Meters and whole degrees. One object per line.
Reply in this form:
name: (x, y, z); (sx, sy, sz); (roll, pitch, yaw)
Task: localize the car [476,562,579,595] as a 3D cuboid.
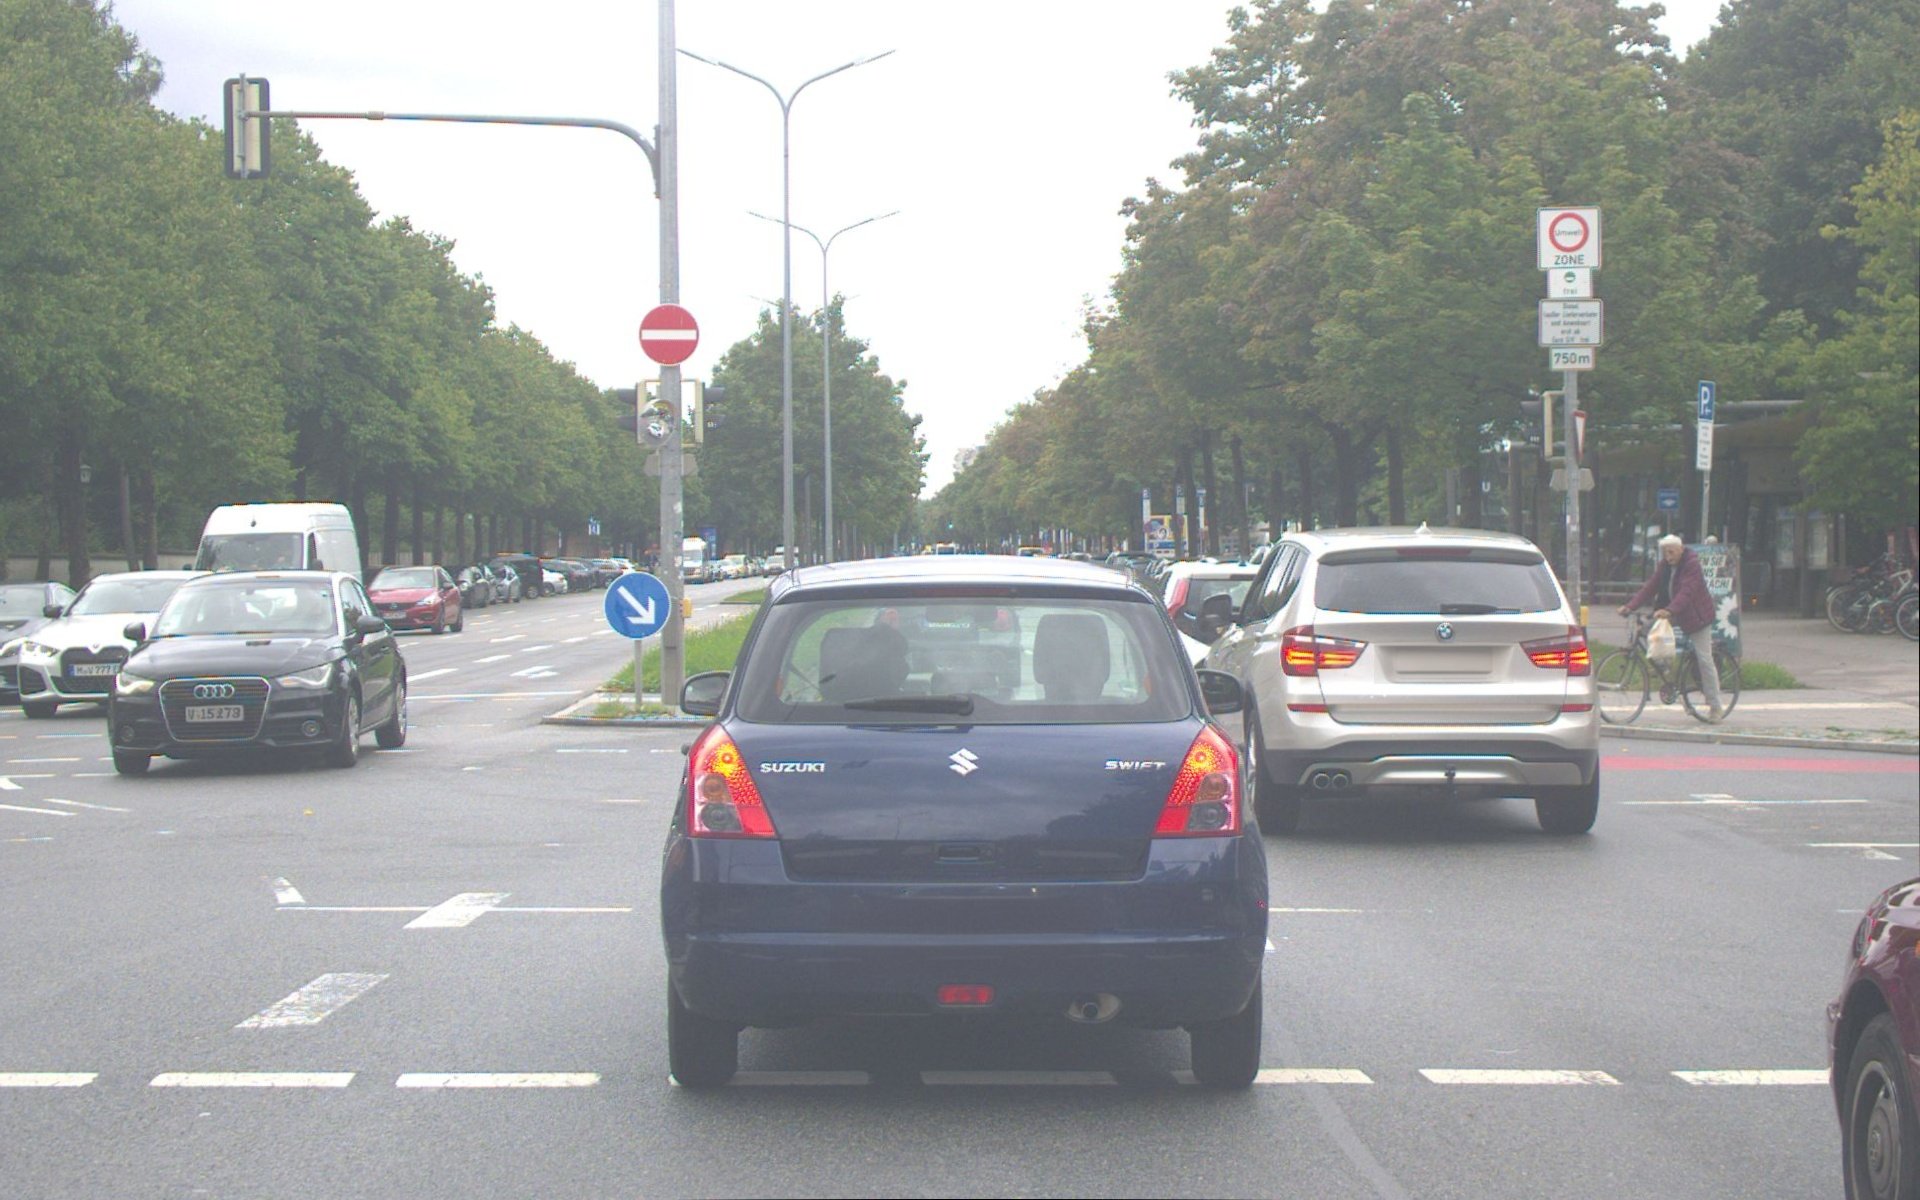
car: (-18.541, -0.950, 147.488); (3.987, 1.349, 1.850); (-1, 1, -35)

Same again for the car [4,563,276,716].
car: (-8.606, 0.368, 36.475); (1.727, 1.482, 4.743); (-1, 1, 0)

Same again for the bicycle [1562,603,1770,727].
bicycle: (6.483, 0.580, 31.525); (1.941, 1.077, 0.748); (-1, 1, -36)

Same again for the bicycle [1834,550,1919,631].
bicycle: (14.443, -0.166, 51.853); (2.338, 1.153, 0.529); (-3, 1, -1)

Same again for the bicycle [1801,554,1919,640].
bicycle: (13.489, -0.063, 49.972); (2.338, 1.153, 0.585); (-3, 1, -1)

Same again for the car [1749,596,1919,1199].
car: (2.637, 0.742, 5.815); (1.622, 1.449, 3.950); (0, 1, -1)

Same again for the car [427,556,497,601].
car: (-17.200, -0.773, 118.895); (1.571, 1.498, 4.303); (1, 1, 3)

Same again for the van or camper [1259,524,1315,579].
van or camper: (15.359, -2.293, 161.950); (2.024, 2.549, 5.957); (-1, 1, 0)

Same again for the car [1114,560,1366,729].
car: (2.524, 0.361, 31.919); (1.850, 1.442, 4.098); (0, 1, -2)

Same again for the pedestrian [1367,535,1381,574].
pedestrian: (18.692, -2.057, 155.079); (0.575, 1.745, 0.732); (0, 1, 4)

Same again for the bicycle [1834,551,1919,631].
bicycle: (14.580, -0.165, 52.405); (2.338, 1.153, 0.529); (-3, 1, -1)

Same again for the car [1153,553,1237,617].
car: (5.694, -0.389, 83.713); (1.717, 1.503, 4.224); (0, 1, -1)

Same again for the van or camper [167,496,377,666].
van or camper: (-11.606, -0.365, 58.556); (2.178, 2.638, 6.951); (-2, 1, -1)

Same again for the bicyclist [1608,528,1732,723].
bicyclist: (6.518, 0.227, 31.552); (0.825, 1.758, 0.746); (-1, 1, -36)

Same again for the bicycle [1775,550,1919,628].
bicycle: (14.620, -0.184, 56.365); (2.338, 1.153, 0.529); (-3, 1, -1)

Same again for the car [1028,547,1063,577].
car: (4.431, -1.974, 178.072); (1.684, 1.520, 4.456); (1, 1, 0)

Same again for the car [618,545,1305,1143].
car: (-0.067, 0.608, 10.999); (1.789, 1.550, 4.000); (0, 1, -2)

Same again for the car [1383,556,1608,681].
car: (6.167, 0.174, 40.056); (1.710, 1.356, 4.622); (0, 1, -2)

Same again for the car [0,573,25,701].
car: (-11.490, 0.463, 36.844); (1.723, 1.411, 4.215); (-2, 1, 0)

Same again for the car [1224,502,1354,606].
car: (5.644, -0.813, 59.473); (1.747, 1.718, 4.906); (0, 1, 0)

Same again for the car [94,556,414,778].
car: (-5.094, 0.433, 25.240); (1.639, 1.482, 3.781); (-1, 1, -1)

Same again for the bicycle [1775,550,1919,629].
bicycle: (14.391, -0.172, 55.450); (2.338, 1.153, 0.529); (-3, 1, -9)

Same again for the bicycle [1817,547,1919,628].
bicycle: (14.453, -0.215, 52.954); (2.338, 1.153, 0.529); (-3, 1, -1)

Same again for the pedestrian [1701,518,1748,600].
pedestrian: (14.307, -0.770, 64.331); (0.578, 1.508, 0.694); (0, 1, -19)

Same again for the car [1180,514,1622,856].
car: (2.393, 0.403, 19.643); (1.850, 1.737, 4.098); (0, 1, -2)

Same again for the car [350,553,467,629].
car: (-11.709, -0.222, 73.239); (1.743, 1.447, 4.658); (-3, 1, -1)
